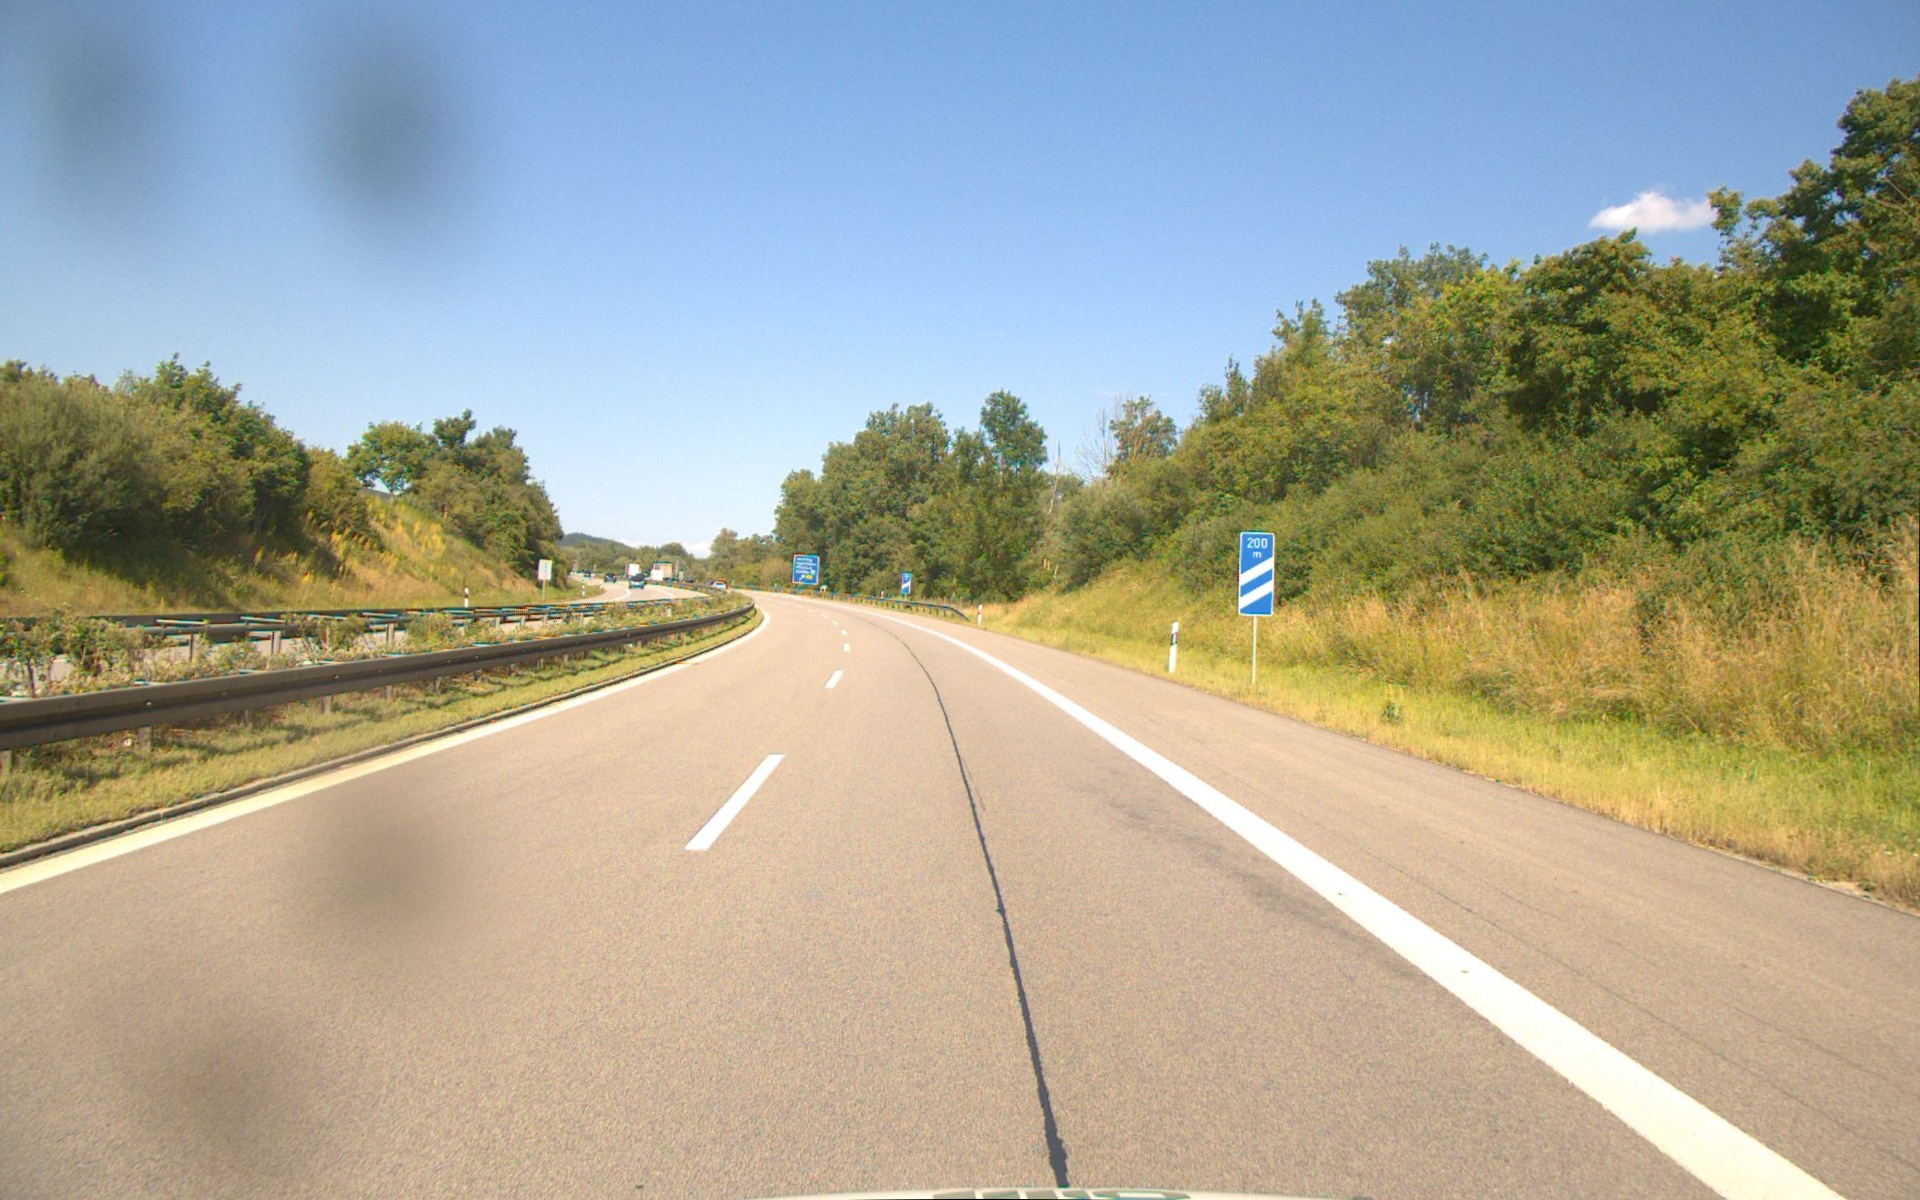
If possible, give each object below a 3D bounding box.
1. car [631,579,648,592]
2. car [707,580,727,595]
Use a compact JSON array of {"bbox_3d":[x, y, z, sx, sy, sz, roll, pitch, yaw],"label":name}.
[{"bbox_3d":[-39.722,-1.779,205.167,1.785,1.506,4.677,2,0,-8],"label":"car"},{"bbox_3d":[-31.523,-1.615,214.549,2.027,1.653,3.984,2,-2,-14],"label":"car"}]
